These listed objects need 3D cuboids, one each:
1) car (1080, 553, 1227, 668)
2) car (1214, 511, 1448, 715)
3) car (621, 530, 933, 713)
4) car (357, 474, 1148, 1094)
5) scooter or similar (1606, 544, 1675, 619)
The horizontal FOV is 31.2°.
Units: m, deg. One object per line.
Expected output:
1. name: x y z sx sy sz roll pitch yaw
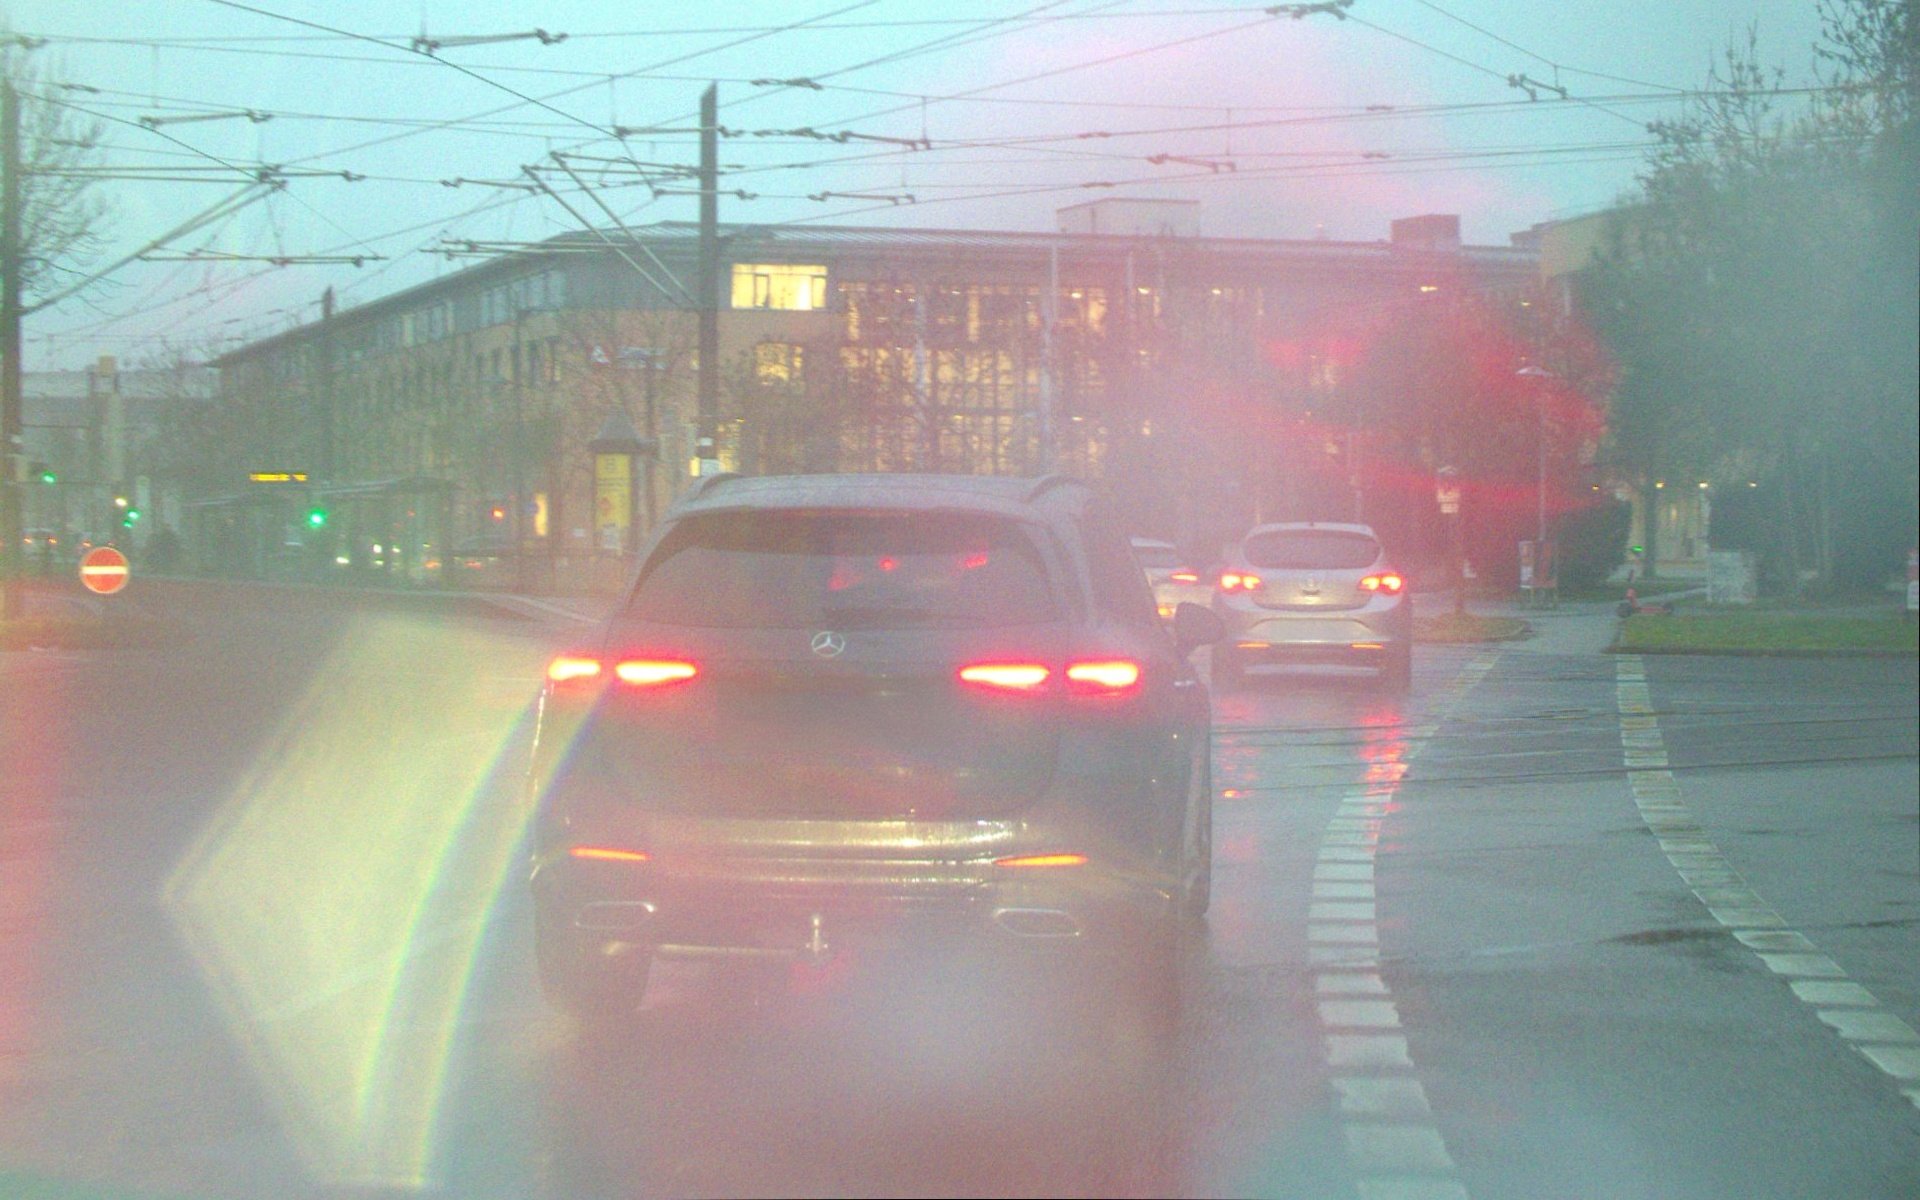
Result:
1. car: 2.837 0.123 51.162 1.993 1.612 4.000 0 1 1
2. car: 3.493 0.065 31.797 1.994 1.759 3.999 0 1 8
3. car: -1.426 0.127 28.437 1.994 1.393 3.999 0 1 6
4. car: -0.441 0.435 10.998 1.991 1.610 4.000 0 1 4
5. scooter or similar: 11.402 -0.317 57.580 1.142 1.227 0.487 -1 1 -36
